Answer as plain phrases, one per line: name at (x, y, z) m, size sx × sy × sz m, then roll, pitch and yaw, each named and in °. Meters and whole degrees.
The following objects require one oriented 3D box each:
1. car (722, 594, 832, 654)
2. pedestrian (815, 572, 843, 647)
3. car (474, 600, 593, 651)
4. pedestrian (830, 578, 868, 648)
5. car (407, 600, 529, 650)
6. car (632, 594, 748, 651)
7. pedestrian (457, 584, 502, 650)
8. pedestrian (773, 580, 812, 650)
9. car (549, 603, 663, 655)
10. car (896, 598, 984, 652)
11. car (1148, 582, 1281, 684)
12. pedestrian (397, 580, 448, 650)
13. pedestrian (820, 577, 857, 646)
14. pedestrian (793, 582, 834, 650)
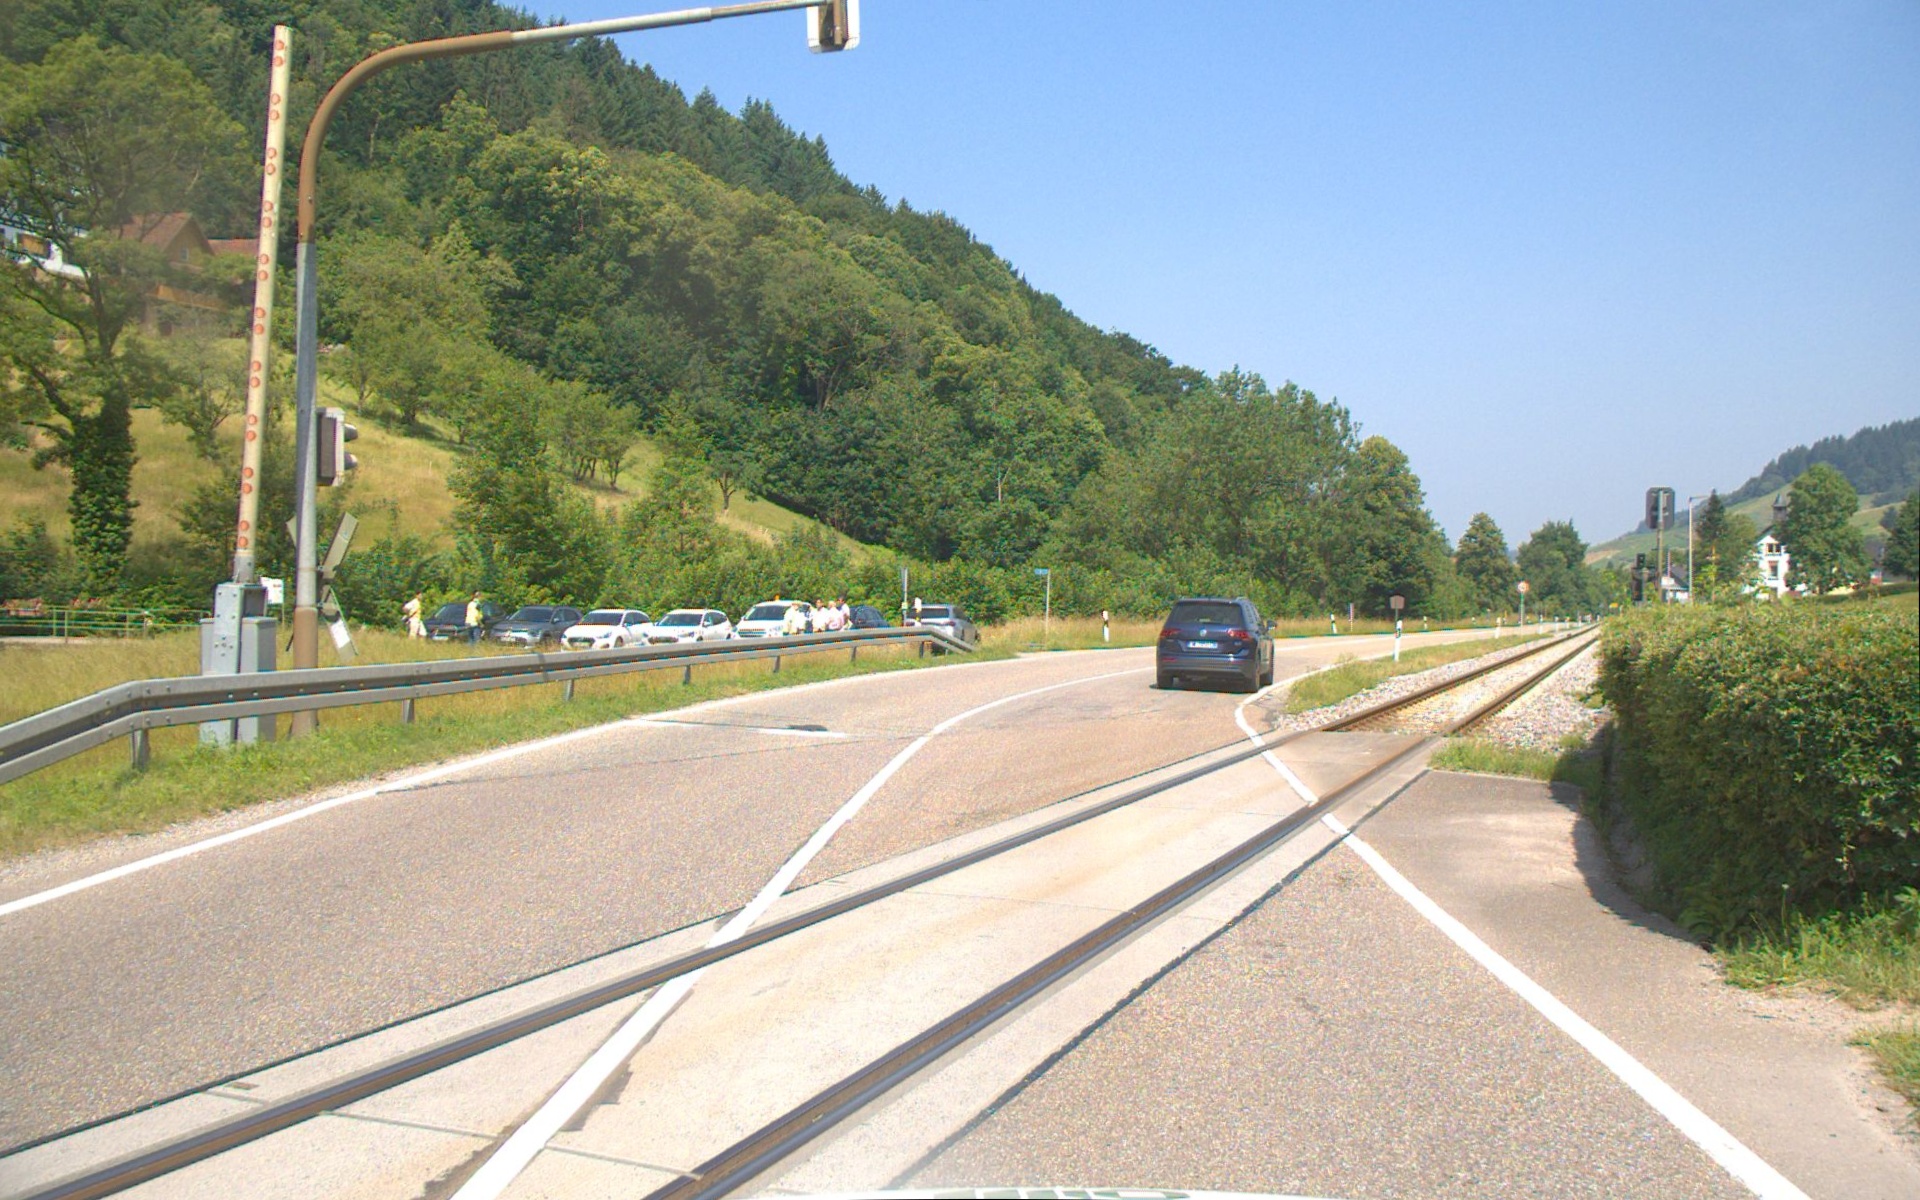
car at (-5.694, 0.732, 52.141) m, size 1.831 × 1.813 × 4.775 m, roll 0°, pitch 0°, yaw 15°
pedestrian at (-3.545, 0.255, 44.715) m, size 0.646 × 1.989 × 0.533 m, roll -1°, pitch 0°, yaw 2°
car at (-13.613, 0.790, 53.064) m, size 1.951 × 1.527 × 4.525 m, roll 1°, pitch 0°, yaw 10°
pedestrian at (-3.029, 0.362, 45.071) m, size 0.765 × 1.891 × 0.638 m, roll -1°, pitch -1°, yaw -44°
car at (-15.885, 0.787, 53.619) m, size 1.951 × 1.527 × 4.525 m, roll -1°, pitch 0°, yaw 10°
car at (-8.460, 0.696, 52.383) m, size 1.951 × 1.670 × 4.906 m, roll -1°, pitch 0°, yaw 12°
pedestrian at (-13.616, 0.489, 46.886) m, size 0.934 × 1.826 × 1.000 m, roll -1°, pitch 0°, yaw 2°
pedestrian at (-4.504, 0.405, 44.485) m, size 0.772 × 1.875 × 0.698 m, roll -1°, pitch 0°, yaw 23°
car at (-11.153, 0.891, 52.472) m, size 1.951 × 1.527 × 4.525 m, roll -1°, pitch 0°, yaw 10°
car at (-0.542, 0.742, 49.940) m, size 1.787 × 1.527 × 4.281 m, roll -1°, pitch 0°, yaw 11°
car at (4.711, 0.539, 30.211) m, size 1.813 × 1.678 × 4.142 m, roll 1°, pitch 1°, yaw 17°
pedestrian at (-15.679, 0.430, 48.238) m, size 1.104 × 2.004 × 0.861 m, roll -2°, pitch -1°, yaw 28°
pedestrian at (-3.374, 0.314, 45.804) m, size 0.765 × 1.872 × 0.638 m, roll -1°, pitch -1°, yaw -45°
pedestrian at (-4.018, 0.431, 45.258) m, size 0.757 × 1.827 × 0.789 m, roll -2°, pitch -1°, yaw 42°
